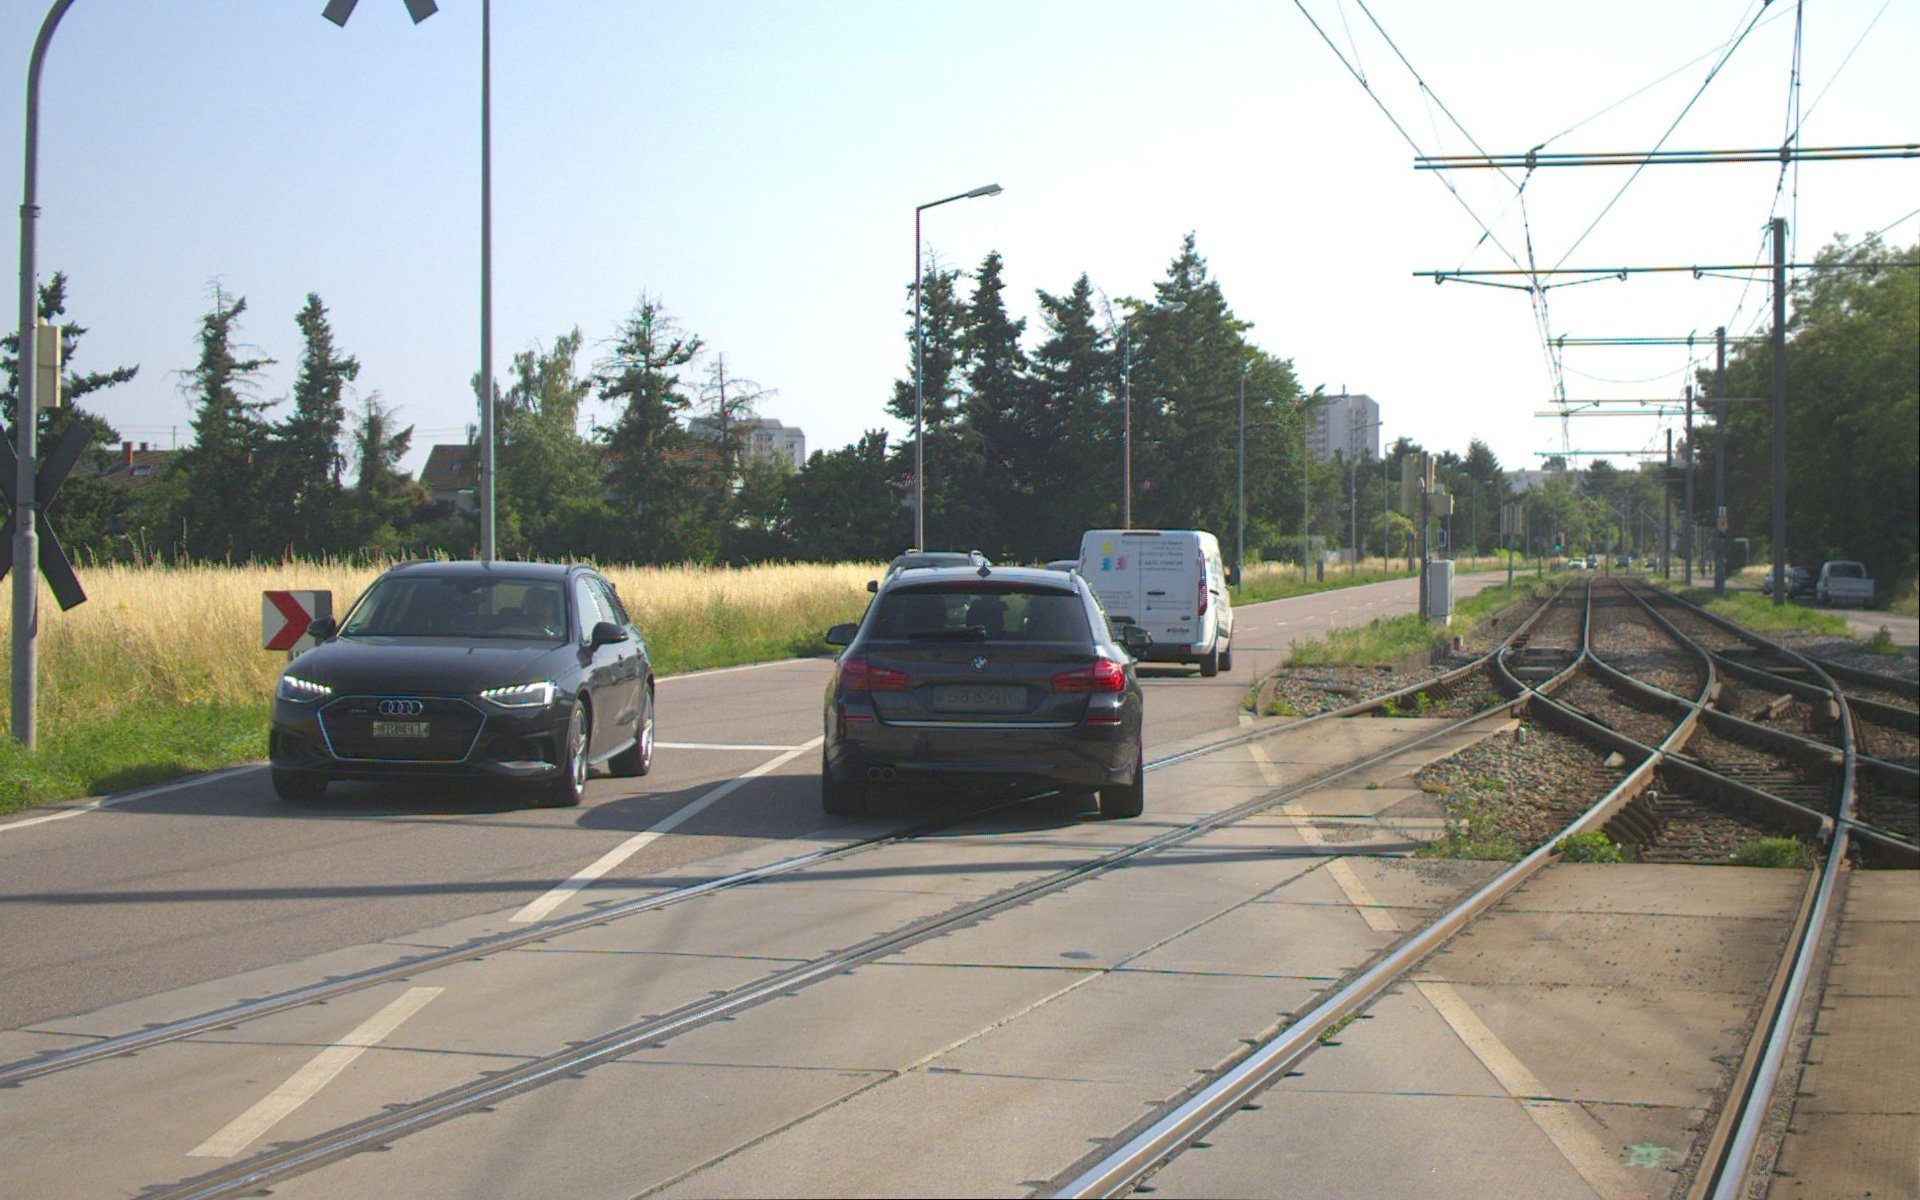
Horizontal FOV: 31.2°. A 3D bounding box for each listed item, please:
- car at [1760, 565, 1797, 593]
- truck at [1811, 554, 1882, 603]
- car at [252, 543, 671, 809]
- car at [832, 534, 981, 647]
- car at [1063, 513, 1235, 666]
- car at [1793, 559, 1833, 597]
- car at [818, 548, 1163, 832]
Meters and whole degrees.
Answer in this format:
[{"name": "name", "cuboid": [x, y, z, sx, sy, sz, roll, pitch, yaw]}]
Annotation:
[{"name": "car", "cuboid": [42.745, -1.094, 179.581, 1.622, 1.394, 3.488, 2, 0, 11]}, {"name": "truck", "cuboid": [34.594, -0.855, 134.224, 2.205, 1.813, 5.927, 1, 1, 10]}, {"name": "car", "cuboid": [-3.000, 0.391, 21.560, 1.693, 1.434, 4.283, 2, 1, 4]}, {"name": "car", "cuboid": [-0.796, -0.191, 53.898, 1.707, 1.659, 4.589, 1, 1, 7]}, {"name": "car", "cuboid": [2.698, -0.188, 48.078, 1.858, 1.981, 5.106, 1, 1, 9]}, {"name": "car", "cuboid": [40.127, -1.011, 161.775, 1.736, 1.674, 3.542, 2, 0, 13]}, {"name": "car", "cuboid": [0.190, 0.458, 21.296, 1.869, 1.447, 4.744, 1, 2, 1]}]
